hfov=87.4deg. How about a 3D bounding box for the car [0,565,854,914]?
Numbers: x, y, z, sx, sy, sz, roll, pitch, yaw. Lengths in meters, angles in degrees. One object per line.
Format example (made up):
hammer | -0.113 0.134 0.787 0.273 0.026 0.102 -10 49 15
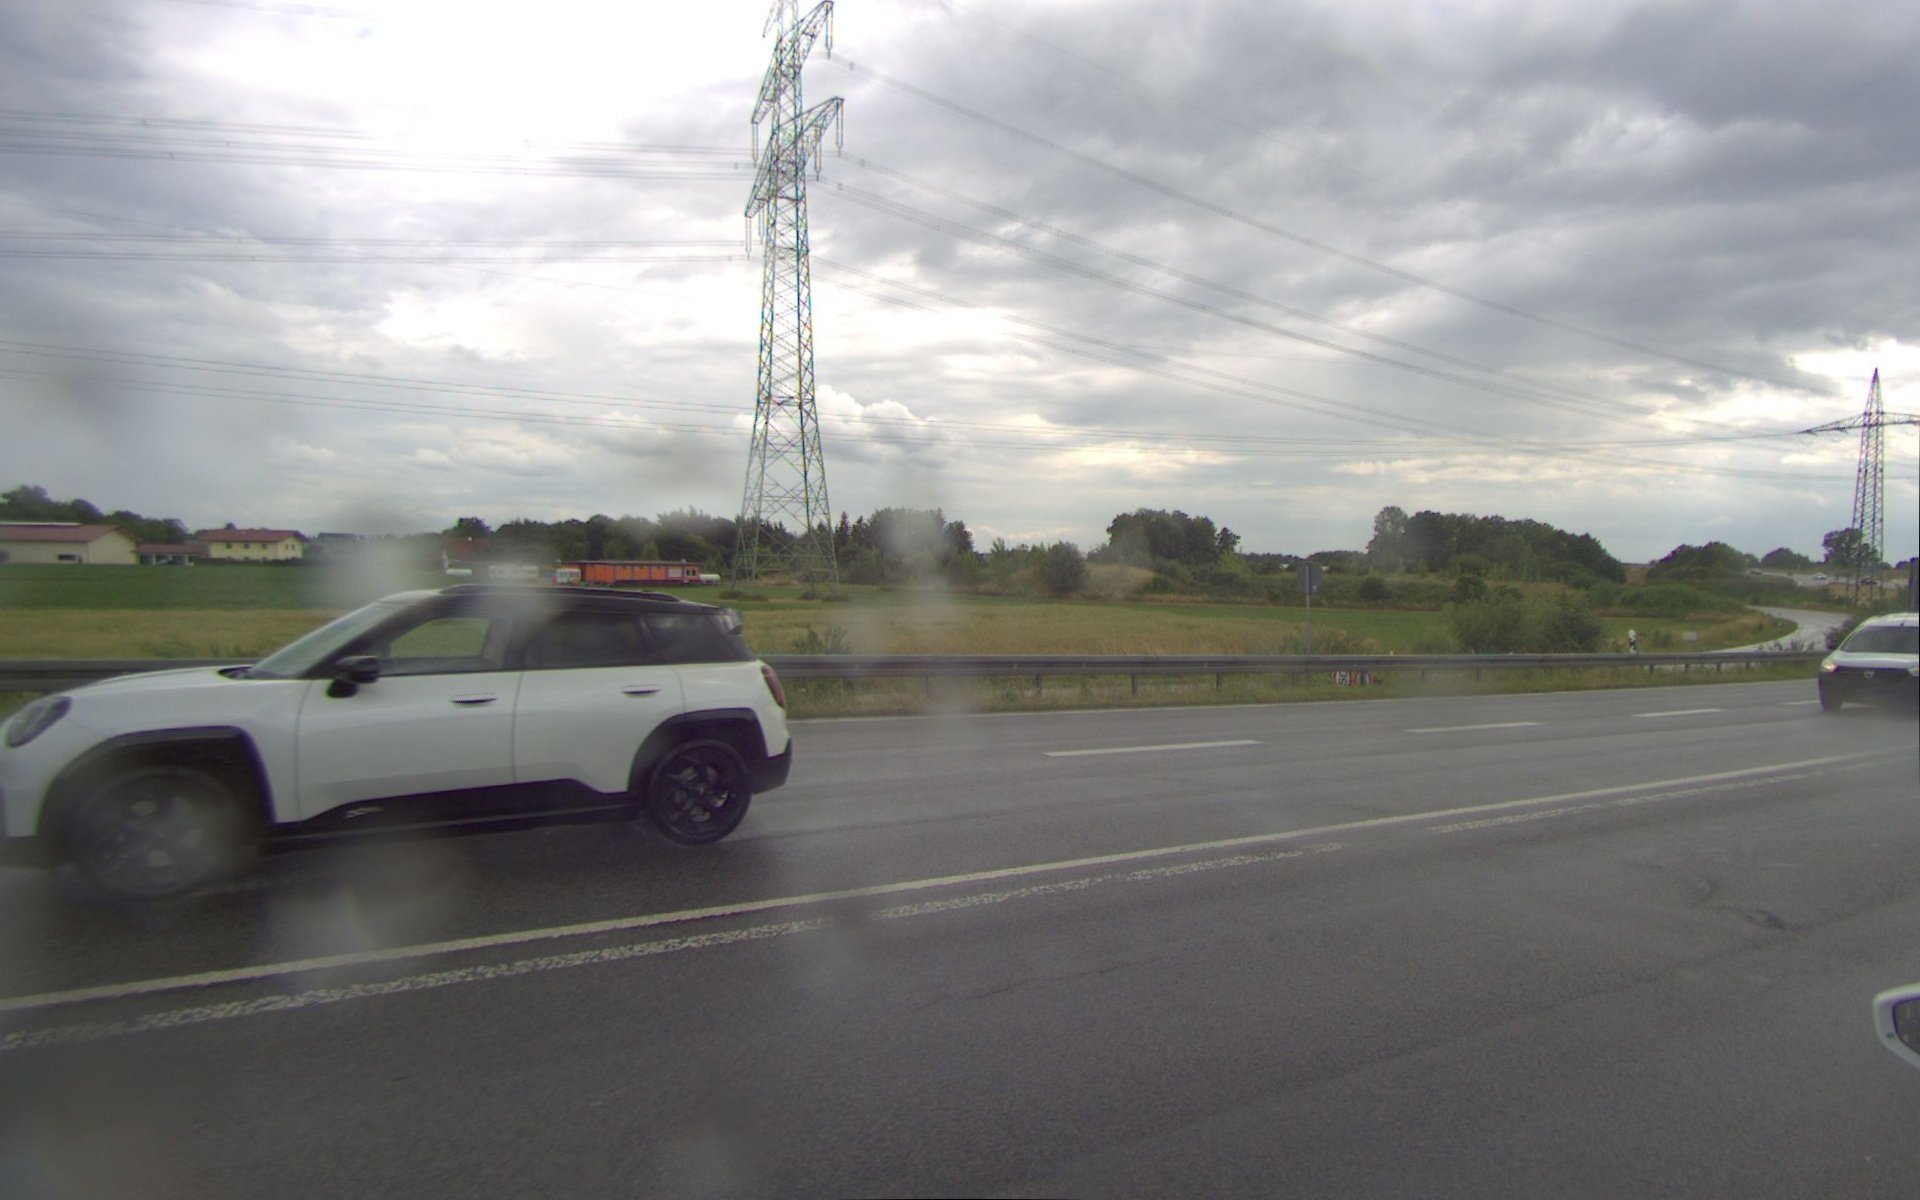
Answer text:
car | -2.912 0.651 6.083 4.159 1.520 1.759 1 0 -29

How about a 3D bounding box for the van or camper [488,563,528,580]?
van or camper | -76.515 -4.822 170.035 5.680 2.667 2.297 0 3 -45

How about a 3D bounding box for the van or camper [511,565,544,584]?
van or camper | -68.605 -3.995 159.323 5.627 2.667 2.319 5 3 38

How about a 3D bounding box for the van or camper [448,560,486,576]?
van or camper | -89.889 -5.845 183.166 5.680 2.667 2.297 0 3 -45

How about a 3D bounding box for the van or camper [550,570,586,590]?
van or camper | -58.143 -3.029 149.026 5.627 2.667 2.319 5 3 38

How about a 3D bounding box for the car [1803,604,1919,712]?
car | 17.358 1.003 18.304 4.323 1.688 1.779 1 3 -33
